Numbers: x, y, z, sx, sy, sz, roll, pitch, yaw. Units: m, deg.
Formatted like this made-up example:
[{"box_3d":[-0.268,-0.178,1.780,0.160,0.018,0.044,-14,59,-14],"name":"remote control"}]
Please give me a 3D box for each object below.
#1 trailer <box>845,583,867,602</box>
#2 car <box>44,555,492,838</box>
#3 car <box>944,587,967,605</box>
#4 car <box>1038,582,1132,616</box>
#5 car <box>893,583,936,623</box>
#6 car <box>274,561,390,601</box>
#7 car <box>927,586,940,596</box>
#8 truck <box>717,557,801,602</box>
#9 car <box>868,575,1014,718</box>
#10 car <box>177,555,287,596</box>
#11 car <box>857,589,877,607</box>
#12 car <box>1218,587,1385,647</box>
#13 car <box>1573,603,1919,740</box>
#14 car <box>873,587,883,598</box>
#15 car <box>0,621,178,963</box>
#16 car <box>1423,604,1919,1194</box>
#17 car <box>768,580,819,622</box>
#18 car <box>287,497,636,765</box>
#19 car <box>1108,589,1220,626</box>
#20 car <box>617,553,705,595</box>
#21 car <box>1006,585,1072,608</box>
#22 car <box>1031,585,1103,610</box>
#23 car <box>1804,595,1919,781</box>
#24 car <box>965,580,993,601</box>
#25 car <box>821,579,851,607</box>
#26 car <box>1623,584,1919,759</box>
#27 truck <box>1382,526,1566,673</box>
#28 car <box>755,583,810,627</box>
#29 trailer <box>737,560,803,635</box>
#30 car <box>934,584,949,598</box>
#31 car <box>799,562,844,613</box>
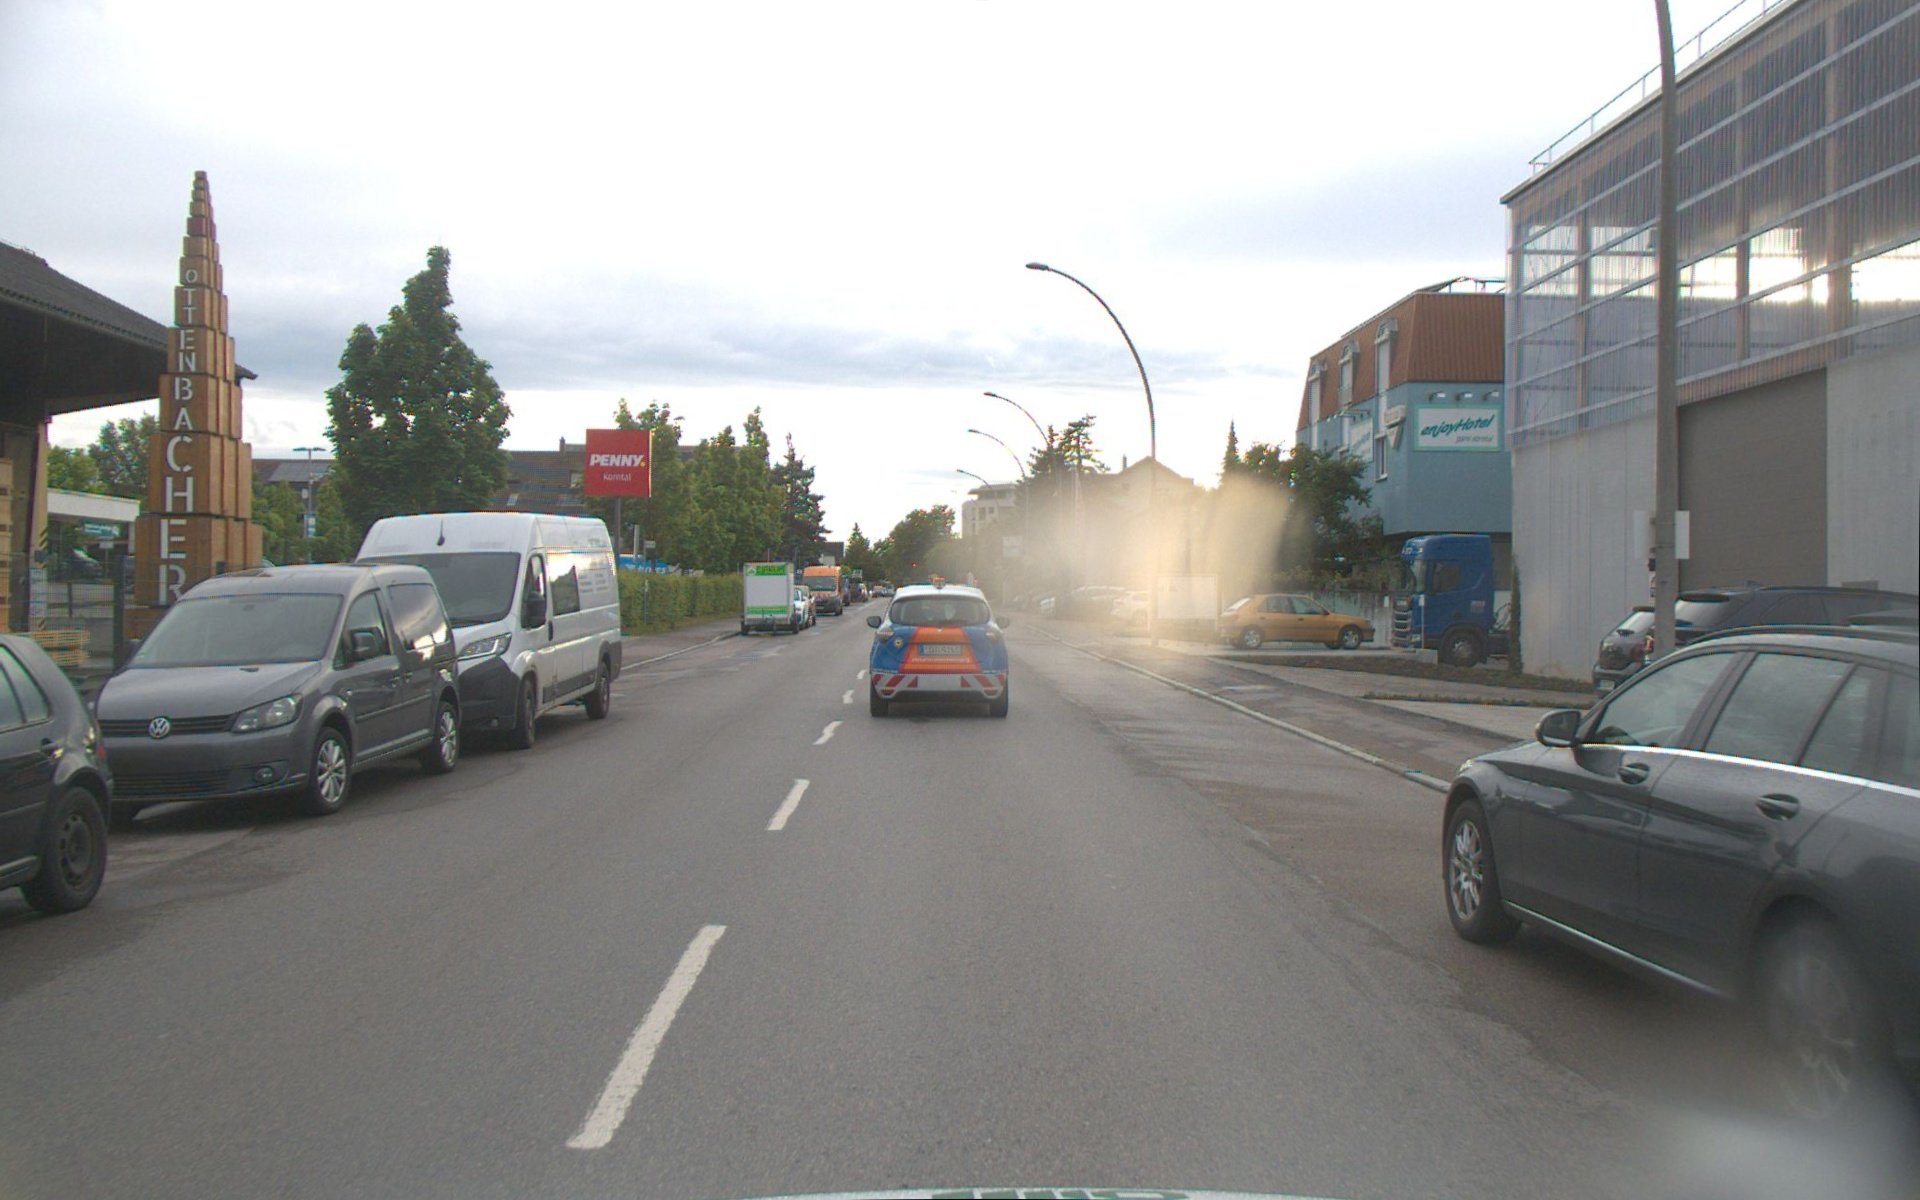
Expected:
[{"box_3d":[-8.526,-0.627,135.583,1.683,1.282,5.242,2,2,-4],"name":"trailer"},{"box_3d":[-5.282,0.645,13.357,1.734,1.799,4.445,-3,0,-1],"name":"car"},{"box_3d":[-0.380,-0.327,140.833,1.678,1.463,4.523,2,0,-4],"name":"car"},{"box_3d":[5.909,-0.043,78.755,4.251,1.501,1.902,1,0,-3],"name":"car"},{"box_3d":[-1.917,0.126,68.392,1.617,1.548,3.997,2,0,-3],"name":"car"},{"box_3d":[-24.615,-0.741,64.947,3.900,1.411,1.801,2,0,-7],"name":"car"},{"box_3d":[-3.886,-1.294,242.994,1.617,1.509,3.997,2,0,-3],"name":"car"},{"box_3d":[-14.637,-1.490,120.713,5.792,3.127,2.449,2,0,-1],"name":"truck"},{"box_3d":[-0.297,0.545,21.081,1.697,1.659,3.493,0,0,-2],"name":"car"},{"box_3d":[-31.023,-1.039,70.606,3.913,1.634,1.768,2,0,-9],"name":"car"},{"box_3d":[-8.055,-0.149,143.245,1.526,1.458,3.999,2,0,-2],"name":"car"},{"box_3d":[8.733,0.422,42.493,3.907,1.455,1.630,1,0,-3],"name":"car"},{"box_3d":[9.868,0.853,20.426,3.885,1.516,1.833,1,0,-1],"name":"car"},{"box_3d":[-11.016,-0.984,221.557,1.359,1.509,3.781,0,0,-3],"name":"car"},{"box_3d":[-5.021,0.873,6.924,1.628,1.474,4.315,-1,0,-3],"name":"car"},{"box_3d":[3.246,0.794,5.910,1.704,1.492,4.543,2,0,-3],"name":"car"},{"box_3d":[-6.706,0.013,66.874,1.769,1.601,4.341,0,1,-2],"name":"car"},{"box_3d":[-5.387,0.270,19.023,2.114,2.469,6.458,-2,0,-2],"name":"car"},{"box_3d":[8.390,0.308,68.328,4.327,1.417,1.879,2,0,-3],"name":"car"},{"box_3d":[-15.733,-1.343,87.275,4.219,2.049,2.062,2,0,-2],"name":"car"},{"box_3d":[4.950,-0.227,103.638,3.908,1.288,1.950,2,0,-3],"name":"car"},{"box_3d":[5.929,-0.126,91.990,3.905,1.288,1.951,2,0,0],"name":"car"},{"box_3d":[10.146,0.751,14.930,4.157,1.563,1.811,0,0,-2],"name":"car"},{"box_3d":[1.234,-0.632,108.941,1.558,1.364,4.090,1,0,-3],"name":"car"},{"box_3d":[-8.858,-0.503,118.342,1.953,1.981,5.363,1,0,-2],"name":"car"},{"box_3d":[9.575,0.745,17.705,4.139,1.704,1.981,2,0,1],"name":"car"},{"box_3d":[14.391,-0.011,46.558,4.063,3.737,2.718,4,0,-4],"name":"truck"},{"box_3d":[-6.546,0.151,61.258,1.737,1.525,4.135,0,1,-2],"name":"car"},{"box_3d":[-6.349,-0.101,55.611,1.776,2.354,4.728,-2,1,-2],"name":"trailer"},{"box_3d":[-2.370,-1.172,211.101,1.617,1.701,3.997,2,0,-3],"name":"car"},{"box_3d":[-7.200,-0.680,86.264,2.082,2.582,6.019,0,1,-2],"name":"car"}]
